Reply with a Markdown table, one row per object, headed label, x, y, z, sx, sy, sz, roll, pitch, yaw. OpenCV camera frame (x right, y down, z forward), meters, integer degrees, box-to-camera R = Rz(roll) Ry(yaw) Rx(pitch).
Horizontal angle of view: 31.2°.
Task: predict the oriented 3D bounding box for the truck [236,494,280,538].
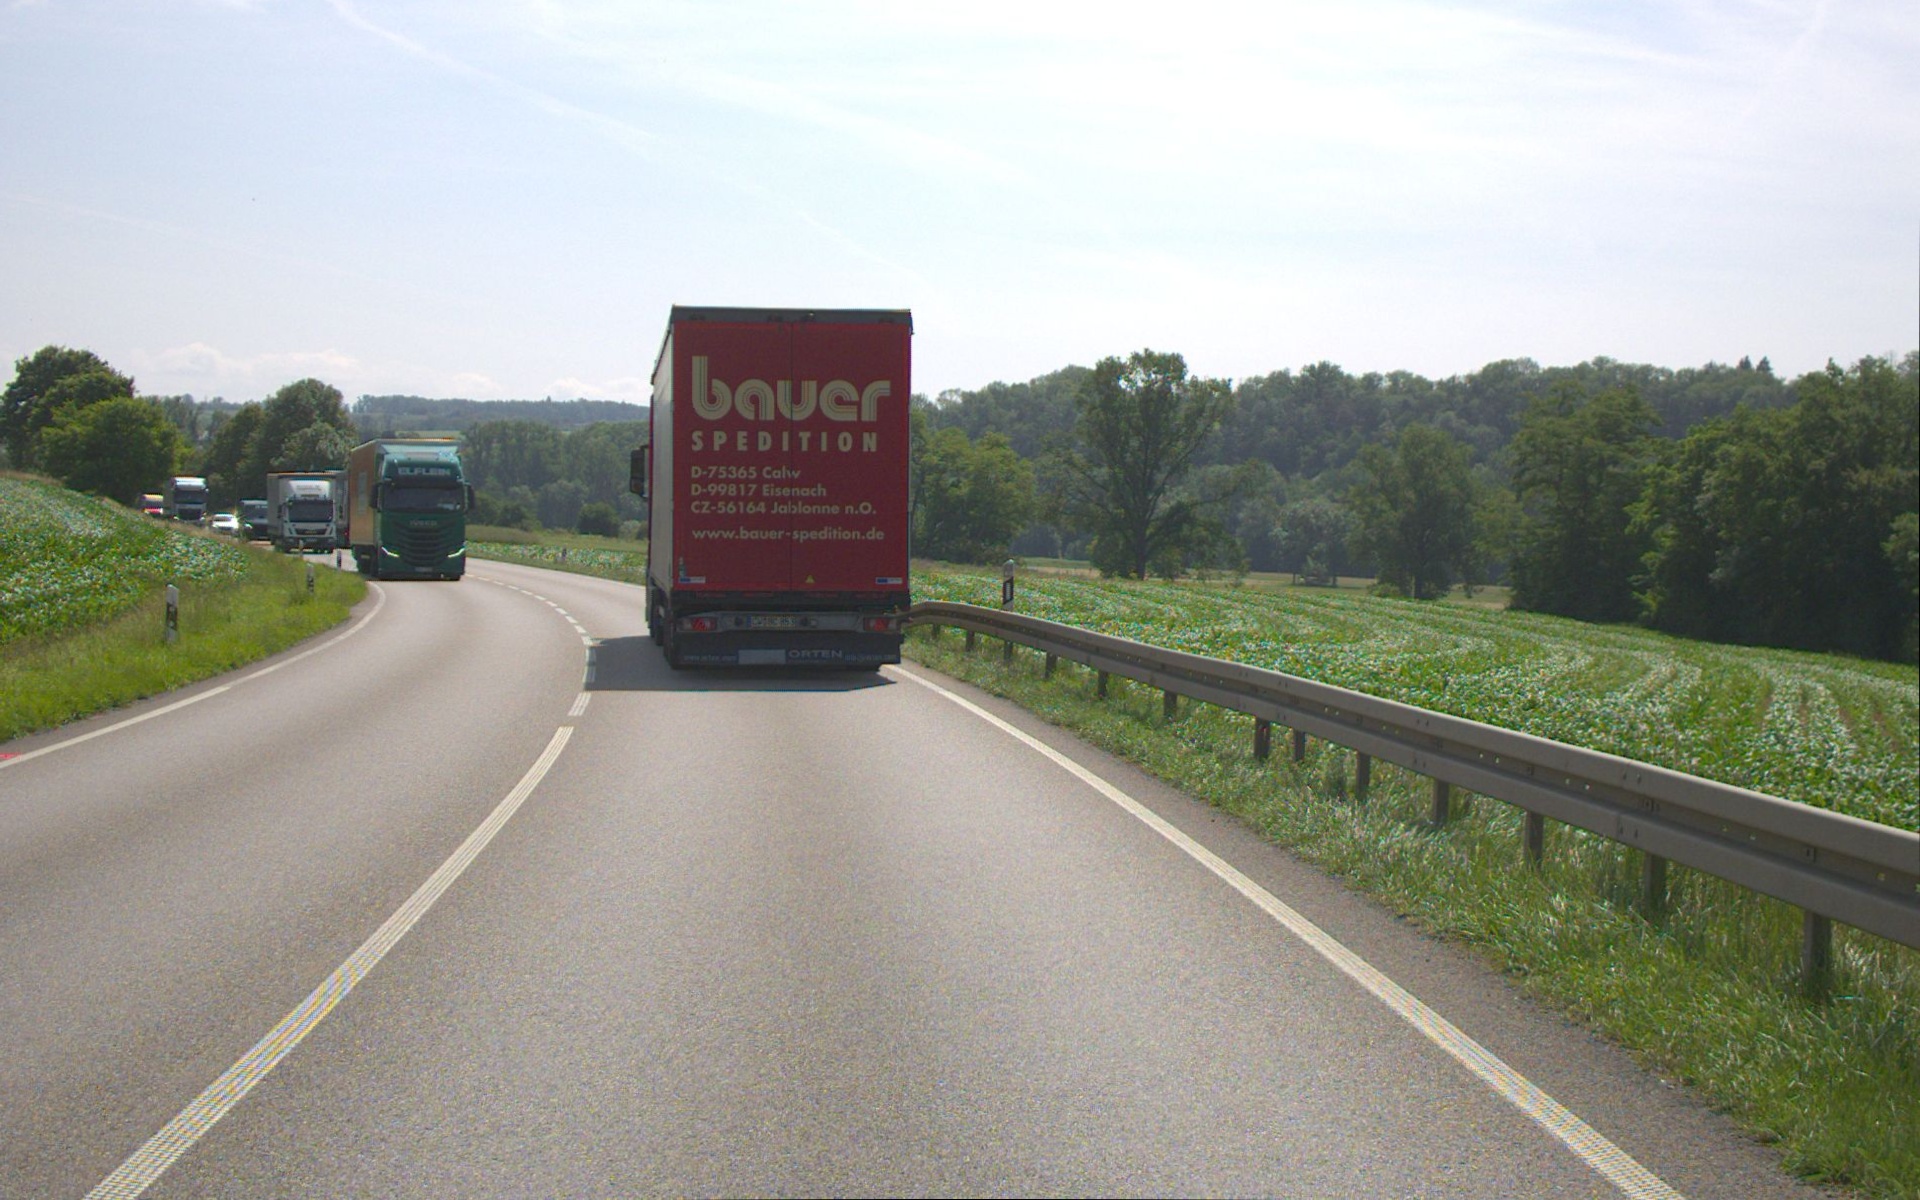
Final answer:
| label | x | y | z | sx | sy | sz | roll | pitch | yaw |
| --- | --- | --- | --- | --- | --- | --- | --- | --- | --- |
| truck | -37.732 | -4.529 | 184.678 | 2.009 | 2.312 | 5.193 | 1 | 1 | -14 |

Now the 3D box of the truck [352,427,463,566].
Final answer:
| label | x | y | z | sx | sy | sz | roll | pitch | yaw |
| --- | --- | --- | --- | --- | --- | --- | --- | --- | --- |
| truck | -17.455 | -3.214 | 107.877 | 2.770 | 3.984 | 17.033 | 1 | 1 | -11 |

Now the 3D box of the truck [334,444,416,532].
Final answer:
| label | x | y | z | sx | sy | sz | roll | pitch | yaw |
| --- | --- | --- | --- | --- | --- | --- | --- | --- | --- |
| truck | -30.380 | -5.714 | 178.073 | 3.639 | 4.277 | 11.989 | 0 | 1 | -12 |

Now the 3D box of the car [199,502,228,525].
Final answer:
| label | x | y | z | sx | sy | sz | roll | pitch | yaw |
| --- | --- | --- | --- | --- | --- | --- | --- | --- | --- |
| car | -47.614 | -5.494 | 219.187 | 1.727 | 1.435 | 4.178 | 0 | 2 | -14 |

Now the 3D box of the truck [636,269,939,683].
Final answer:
| label | x | y | z | sx | sy | sz | roll | pitch | yaw |
| --- | --- | --- | --- | --- | --- | --- | --- | --- | --- |
| truck | -2.116 | -1.345 | 39.769 | 3.094 | 4.248 | 8.316 | 1 | 1 | -5 |

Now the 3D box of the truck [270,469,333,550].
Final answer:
| label | x | y | z | sx | sy | sz | roll | pitch | yaw |
| --- | --- | --- | --- | --- | --- | --- | --- | --- | --- |
| truck | -30.390 | -4.172 | 158.501 | 2.740 | 3.566 | 9.730 | 1 | 1 | -11 |
